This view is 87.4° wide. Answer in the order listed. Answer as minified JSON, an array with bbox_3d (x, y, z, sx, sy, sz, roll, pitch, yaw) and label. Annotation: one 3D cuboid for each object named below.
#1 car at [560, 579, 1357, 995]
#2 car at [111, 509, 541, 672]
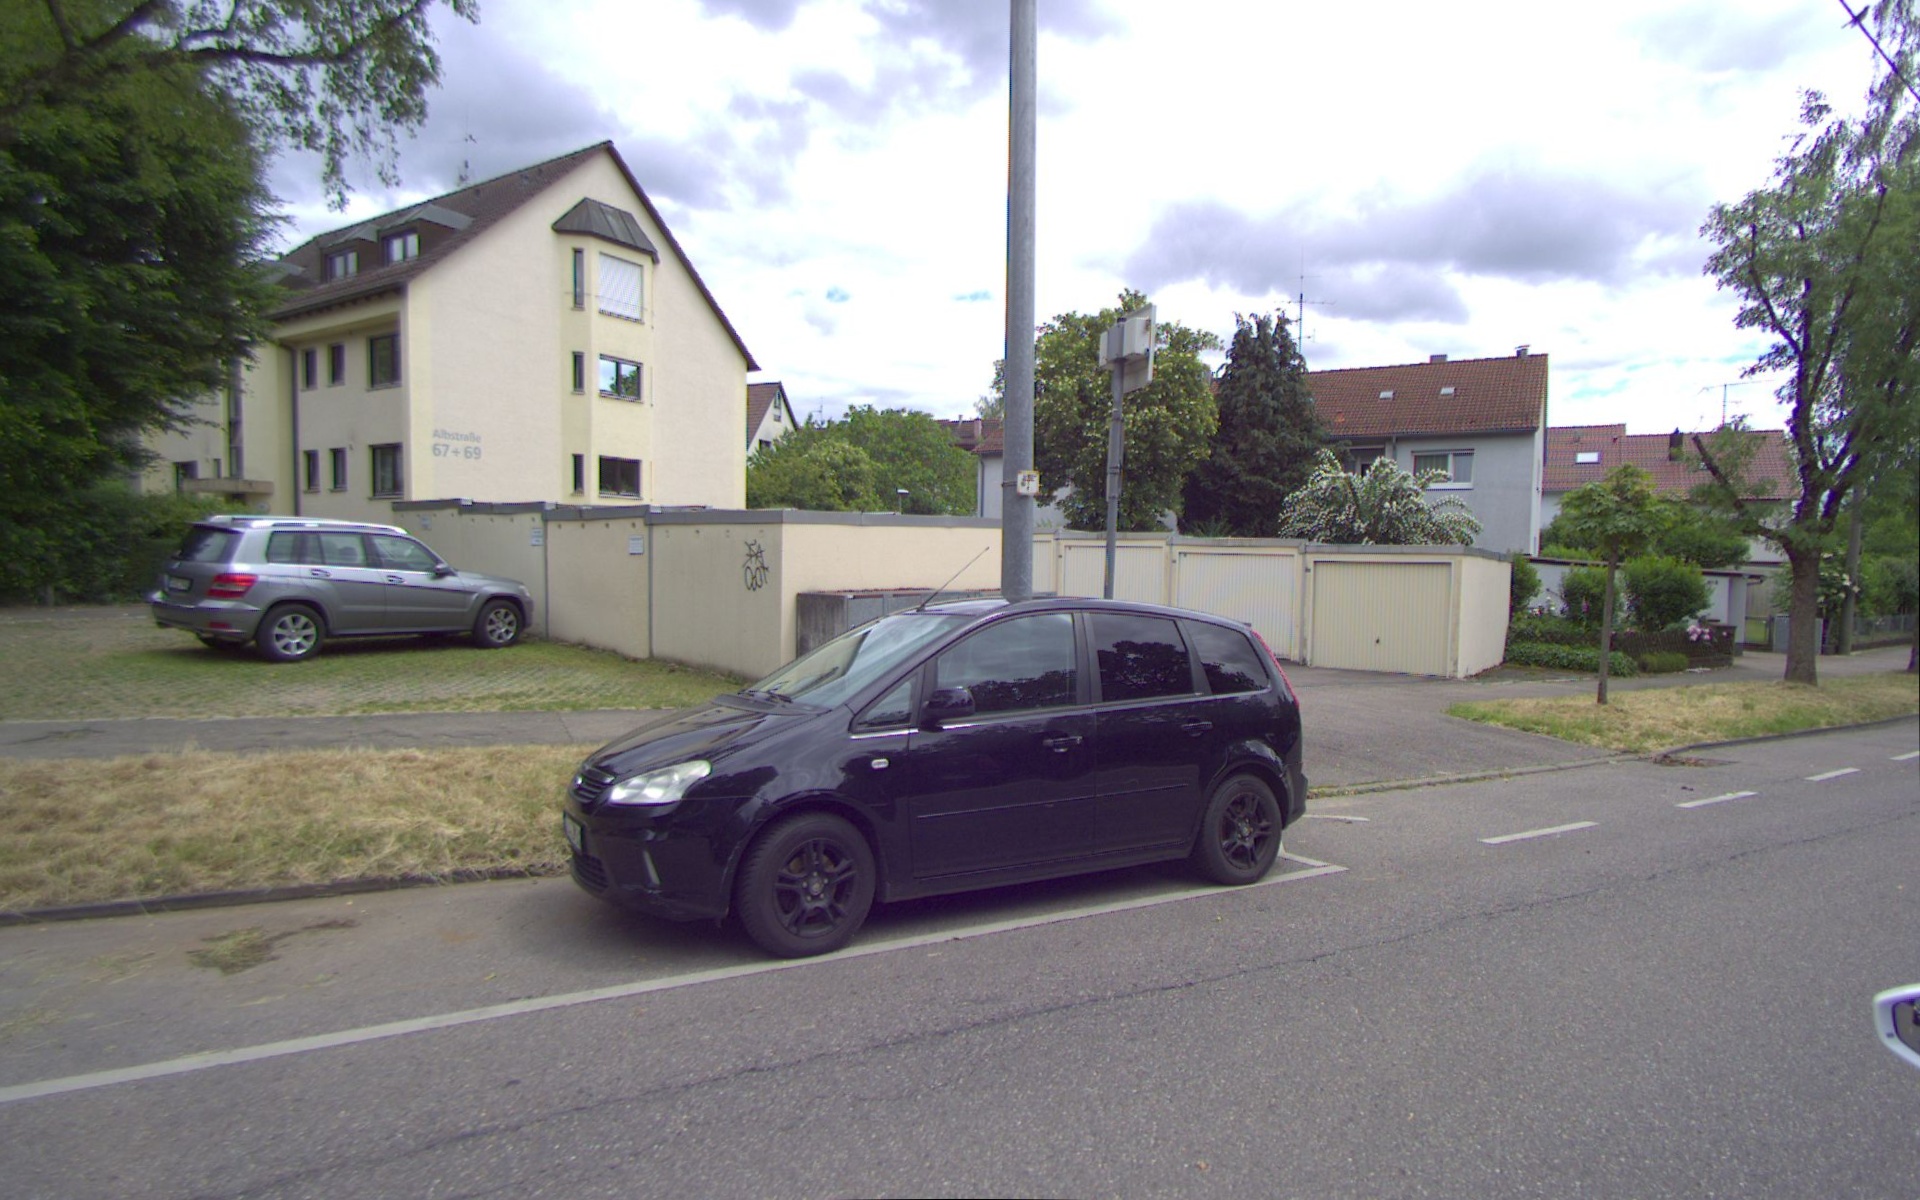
[{"bbox_3d":[0.121,0.785,5.705,4.218,1.583,1.796,2,-2,-31],"label":"car"},{"bbox_3d":[-8.085,-0.202,13.261,1.964,1.672,4.394,6,5,30],"label":"car"}]
